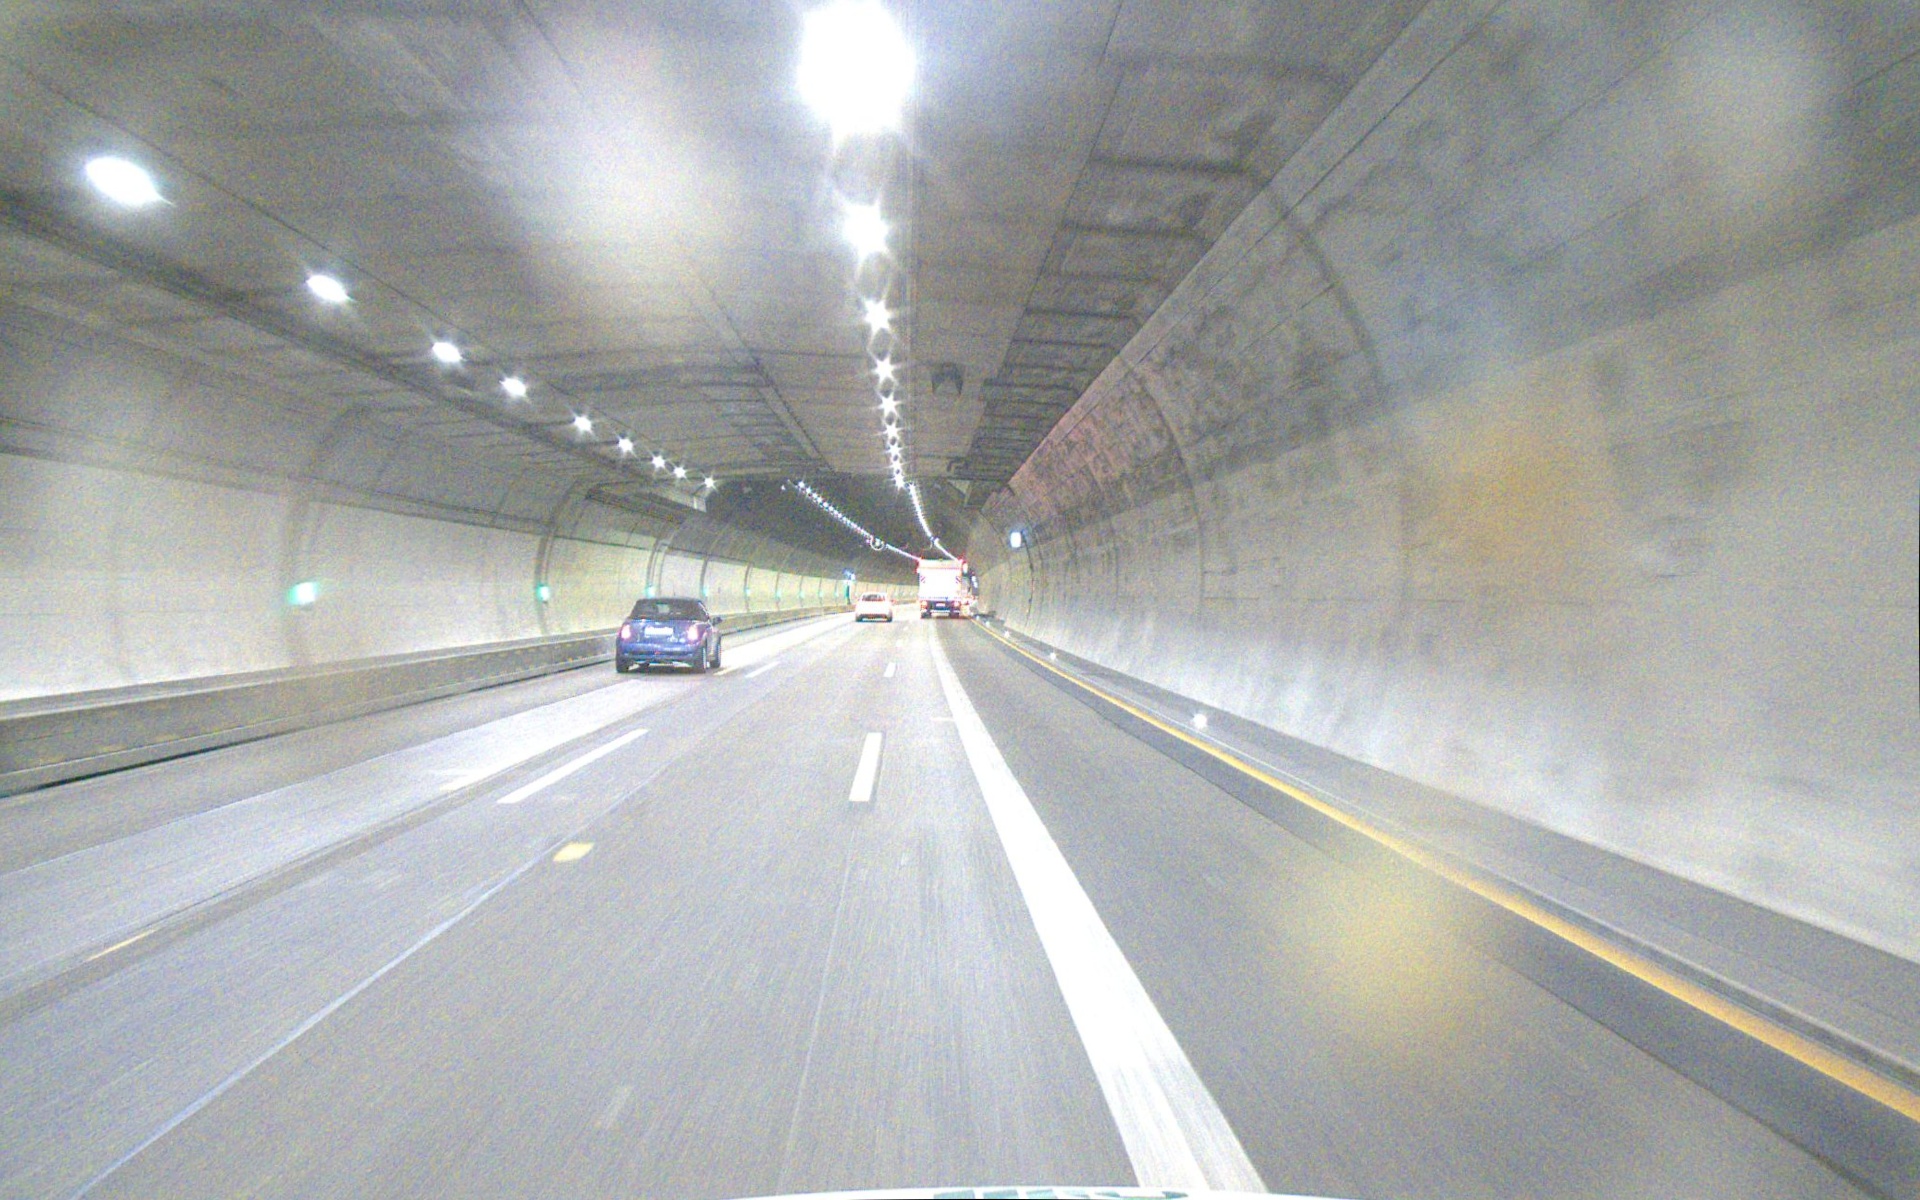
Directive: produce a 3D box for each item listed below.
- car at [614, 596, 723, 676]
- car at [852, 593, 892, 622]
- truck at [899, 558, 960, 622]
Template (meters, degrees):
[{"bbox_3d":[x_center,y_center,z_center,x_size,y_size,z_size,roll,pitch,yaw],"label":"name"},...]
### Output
[{"bbox_3d":[-5.621,0.650,32.254,1.656,1.442,3.920,0,0,-4],"label":"car"},{"bbox_3d":[-4.526,0.377,84.806,1.954,1.437,4.739,0,0,-4],"label":"car"},{"bbox_3d":[-1.834,-0.599,102.125,3.519,3.714,10.721,0,0,-1],"label":"truck"}]
